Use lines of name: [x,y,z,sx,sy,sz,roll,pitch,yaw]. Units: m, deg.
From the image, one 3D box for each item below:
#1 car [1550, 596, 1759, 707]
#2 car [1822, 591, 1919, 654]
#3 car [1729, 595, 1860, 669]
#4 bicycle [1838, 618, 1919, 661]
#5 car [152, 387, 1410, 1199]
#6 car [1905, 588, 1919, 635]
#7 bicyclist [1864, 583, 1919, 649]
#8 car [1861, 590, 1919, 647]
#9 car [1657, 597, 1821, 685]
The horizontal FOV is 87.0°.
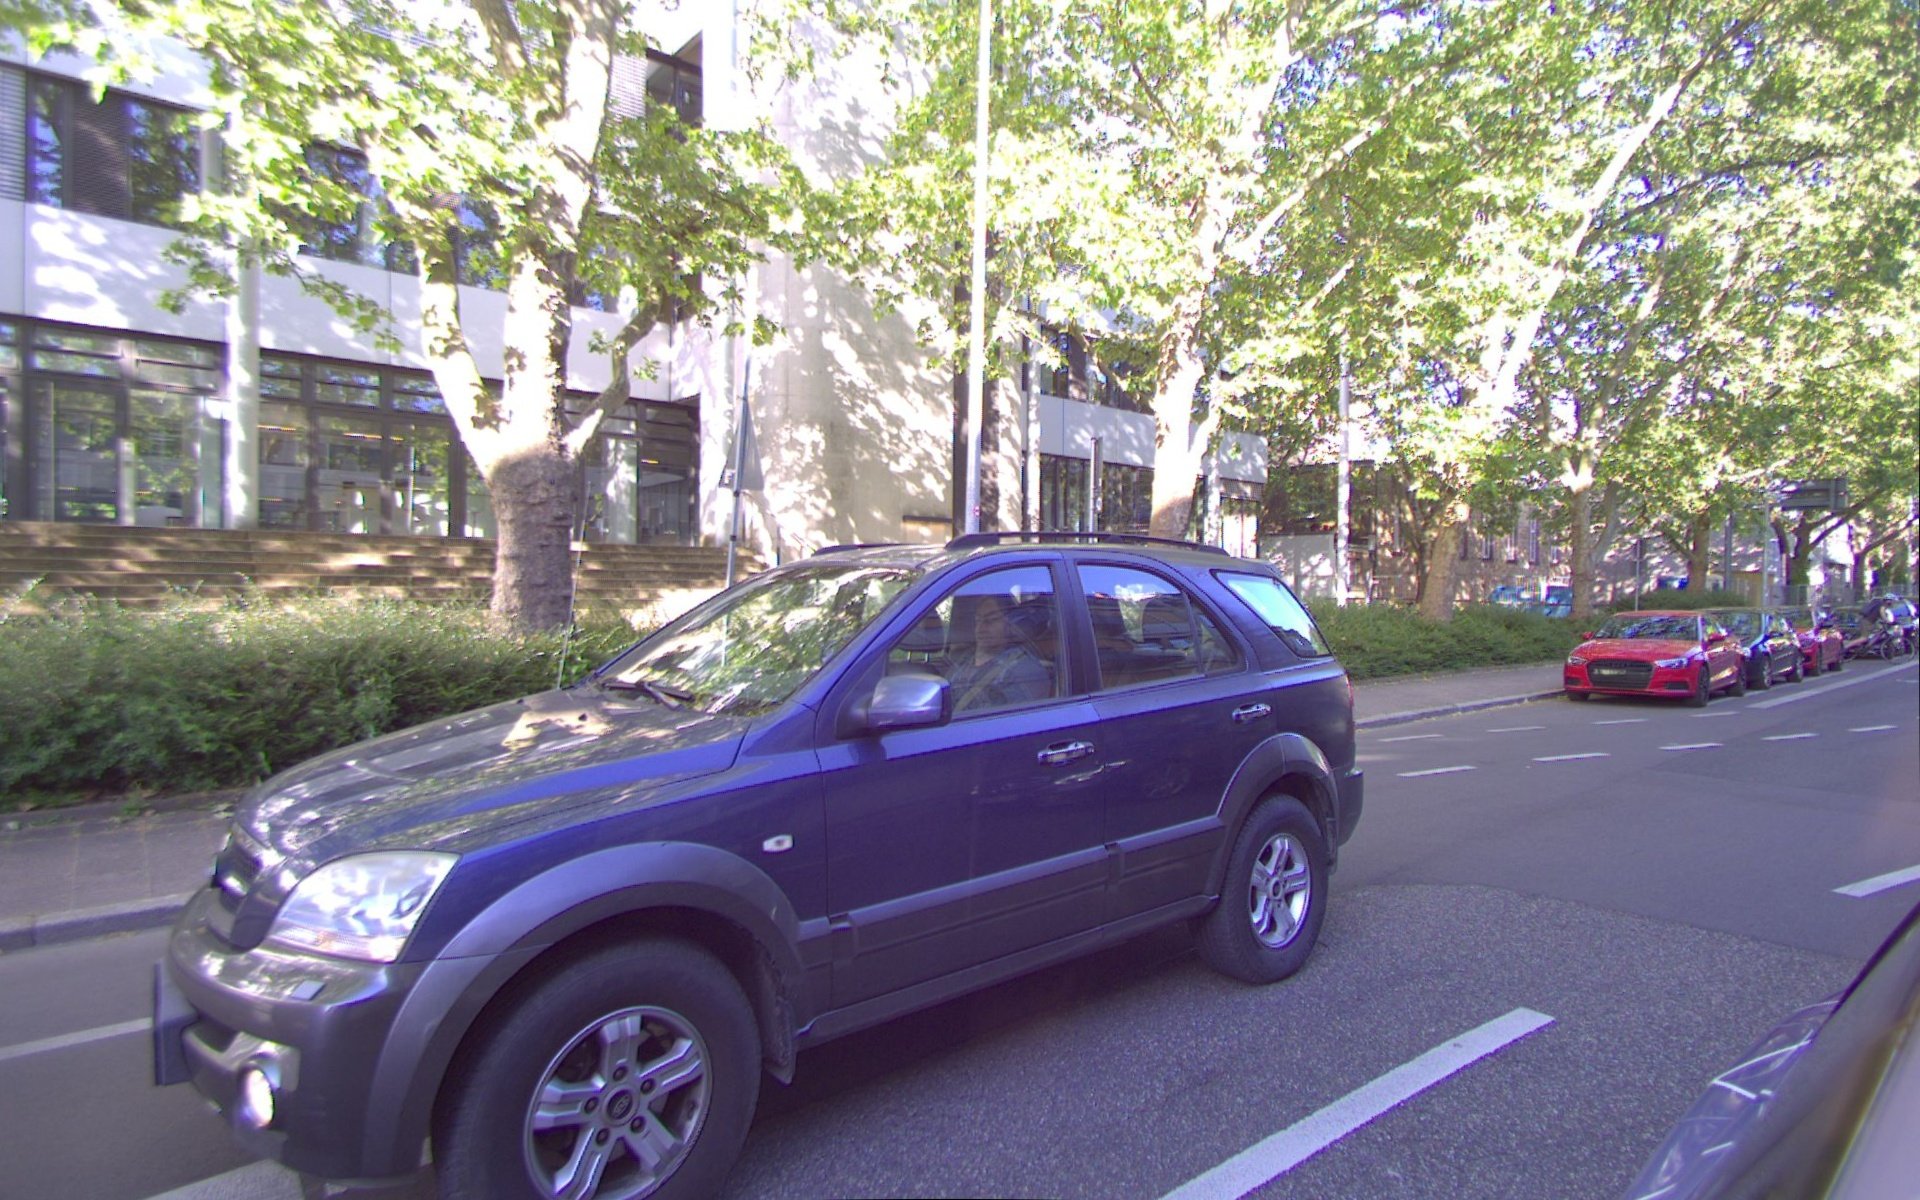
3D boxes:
car: [11.197,0.732,16.208,4.071,1.548,1.827,0,-1,-42]
car: [25.921,0.585,28.705,4.022,1.653,1.739,0,1,-42]
car: [18.688,0.665,22.610,3.851,1.511,1.679,0,-1,-42]
bicycle: [23.515,0.982,25.706,1.790,1.027,0.724,0,0,39]
car: [-0.245,0.543,3.773,4.306,1.793,1.784,0,-1,-40]
car: [38.813,0.441,40.064,3.829,1.818,1.739,0,1,-42]
bicyclist: [23.617,0.395,25.621,1.032,1.640,0.688,0,0,39]
car: [29.761,0.542,31.898,3.840,1.708,1.633,0,1,-42]
car: [14.811,0.708,19.167,4.022,1.472,1.739,0,-1,-42]
